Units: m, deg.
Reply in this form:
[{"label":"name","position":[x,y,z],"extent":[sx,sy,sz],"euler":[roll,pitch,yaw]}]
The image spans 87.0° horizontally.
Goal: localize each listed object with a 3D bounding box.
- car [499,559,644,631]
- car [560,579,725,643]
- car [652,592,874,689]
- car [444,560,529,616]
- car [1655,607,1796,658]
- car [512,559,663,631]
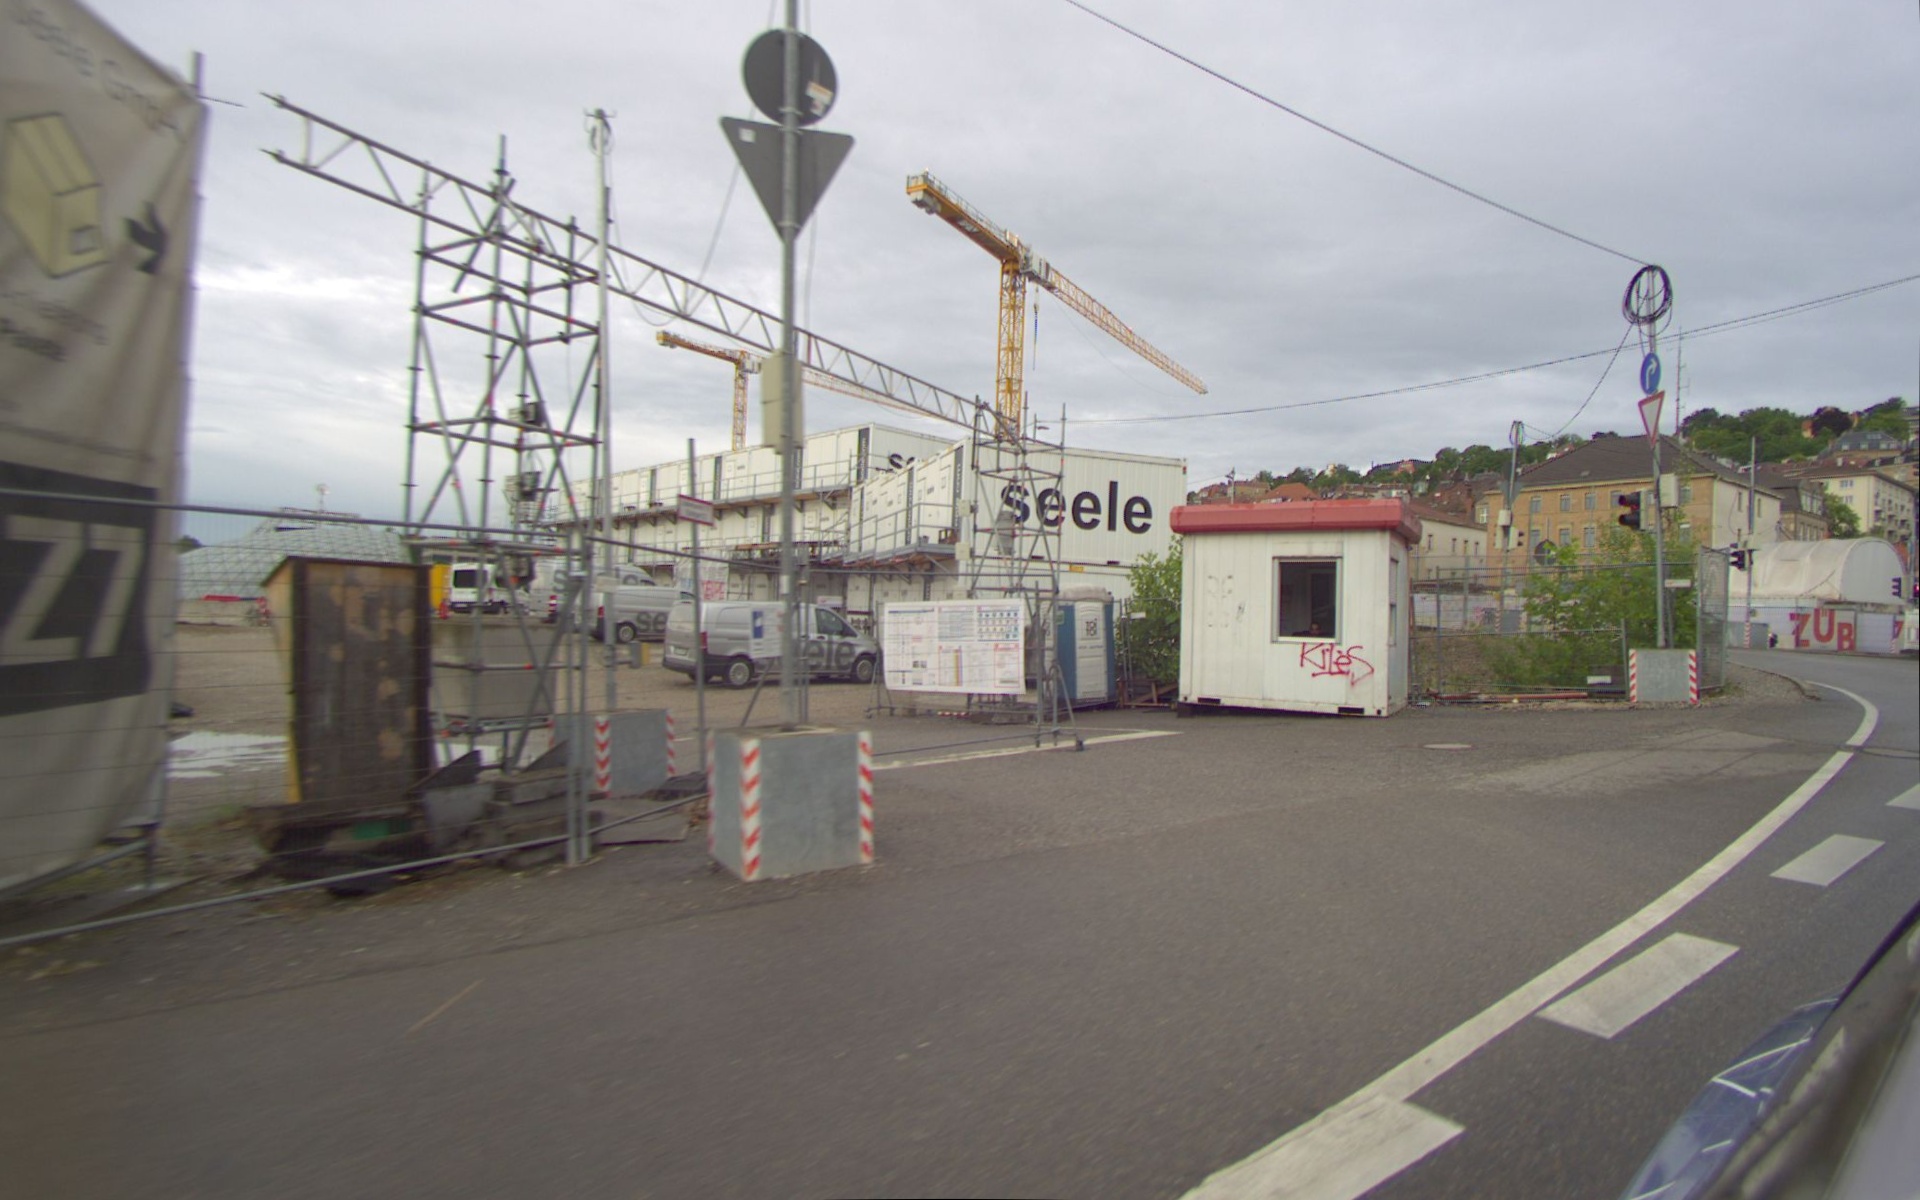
[{"label":"car","position":[-15.152,-0.232,39.717],"extent":[1.993,2.591,4.908],"euler":[4,3,41]},{"label":"car","position":[-10.464,0.321,33.655],"extent":[1.993,1.910,4.908],"euler":[4,3,41]},{"label":"car","position":[-4.418,0.868,23.121],"extent":[4.574,1.925,2.016],"euler":[1,1,-42]},{"label":"car","position":[-21.615,-0.587,46.404],"extent":[2.108,2.412,4.408],"euler":[1,1,-5]},{"label":"car","position":[29.036,1.189,38.468],"extent":[4.098,1.638,1.859],"euler":[3,2,42]},{"label":"car","position":[-13.780,-0.215,37.677],"extent":[1.992,2.472,4.908],"euler":[3,2,41]}]
